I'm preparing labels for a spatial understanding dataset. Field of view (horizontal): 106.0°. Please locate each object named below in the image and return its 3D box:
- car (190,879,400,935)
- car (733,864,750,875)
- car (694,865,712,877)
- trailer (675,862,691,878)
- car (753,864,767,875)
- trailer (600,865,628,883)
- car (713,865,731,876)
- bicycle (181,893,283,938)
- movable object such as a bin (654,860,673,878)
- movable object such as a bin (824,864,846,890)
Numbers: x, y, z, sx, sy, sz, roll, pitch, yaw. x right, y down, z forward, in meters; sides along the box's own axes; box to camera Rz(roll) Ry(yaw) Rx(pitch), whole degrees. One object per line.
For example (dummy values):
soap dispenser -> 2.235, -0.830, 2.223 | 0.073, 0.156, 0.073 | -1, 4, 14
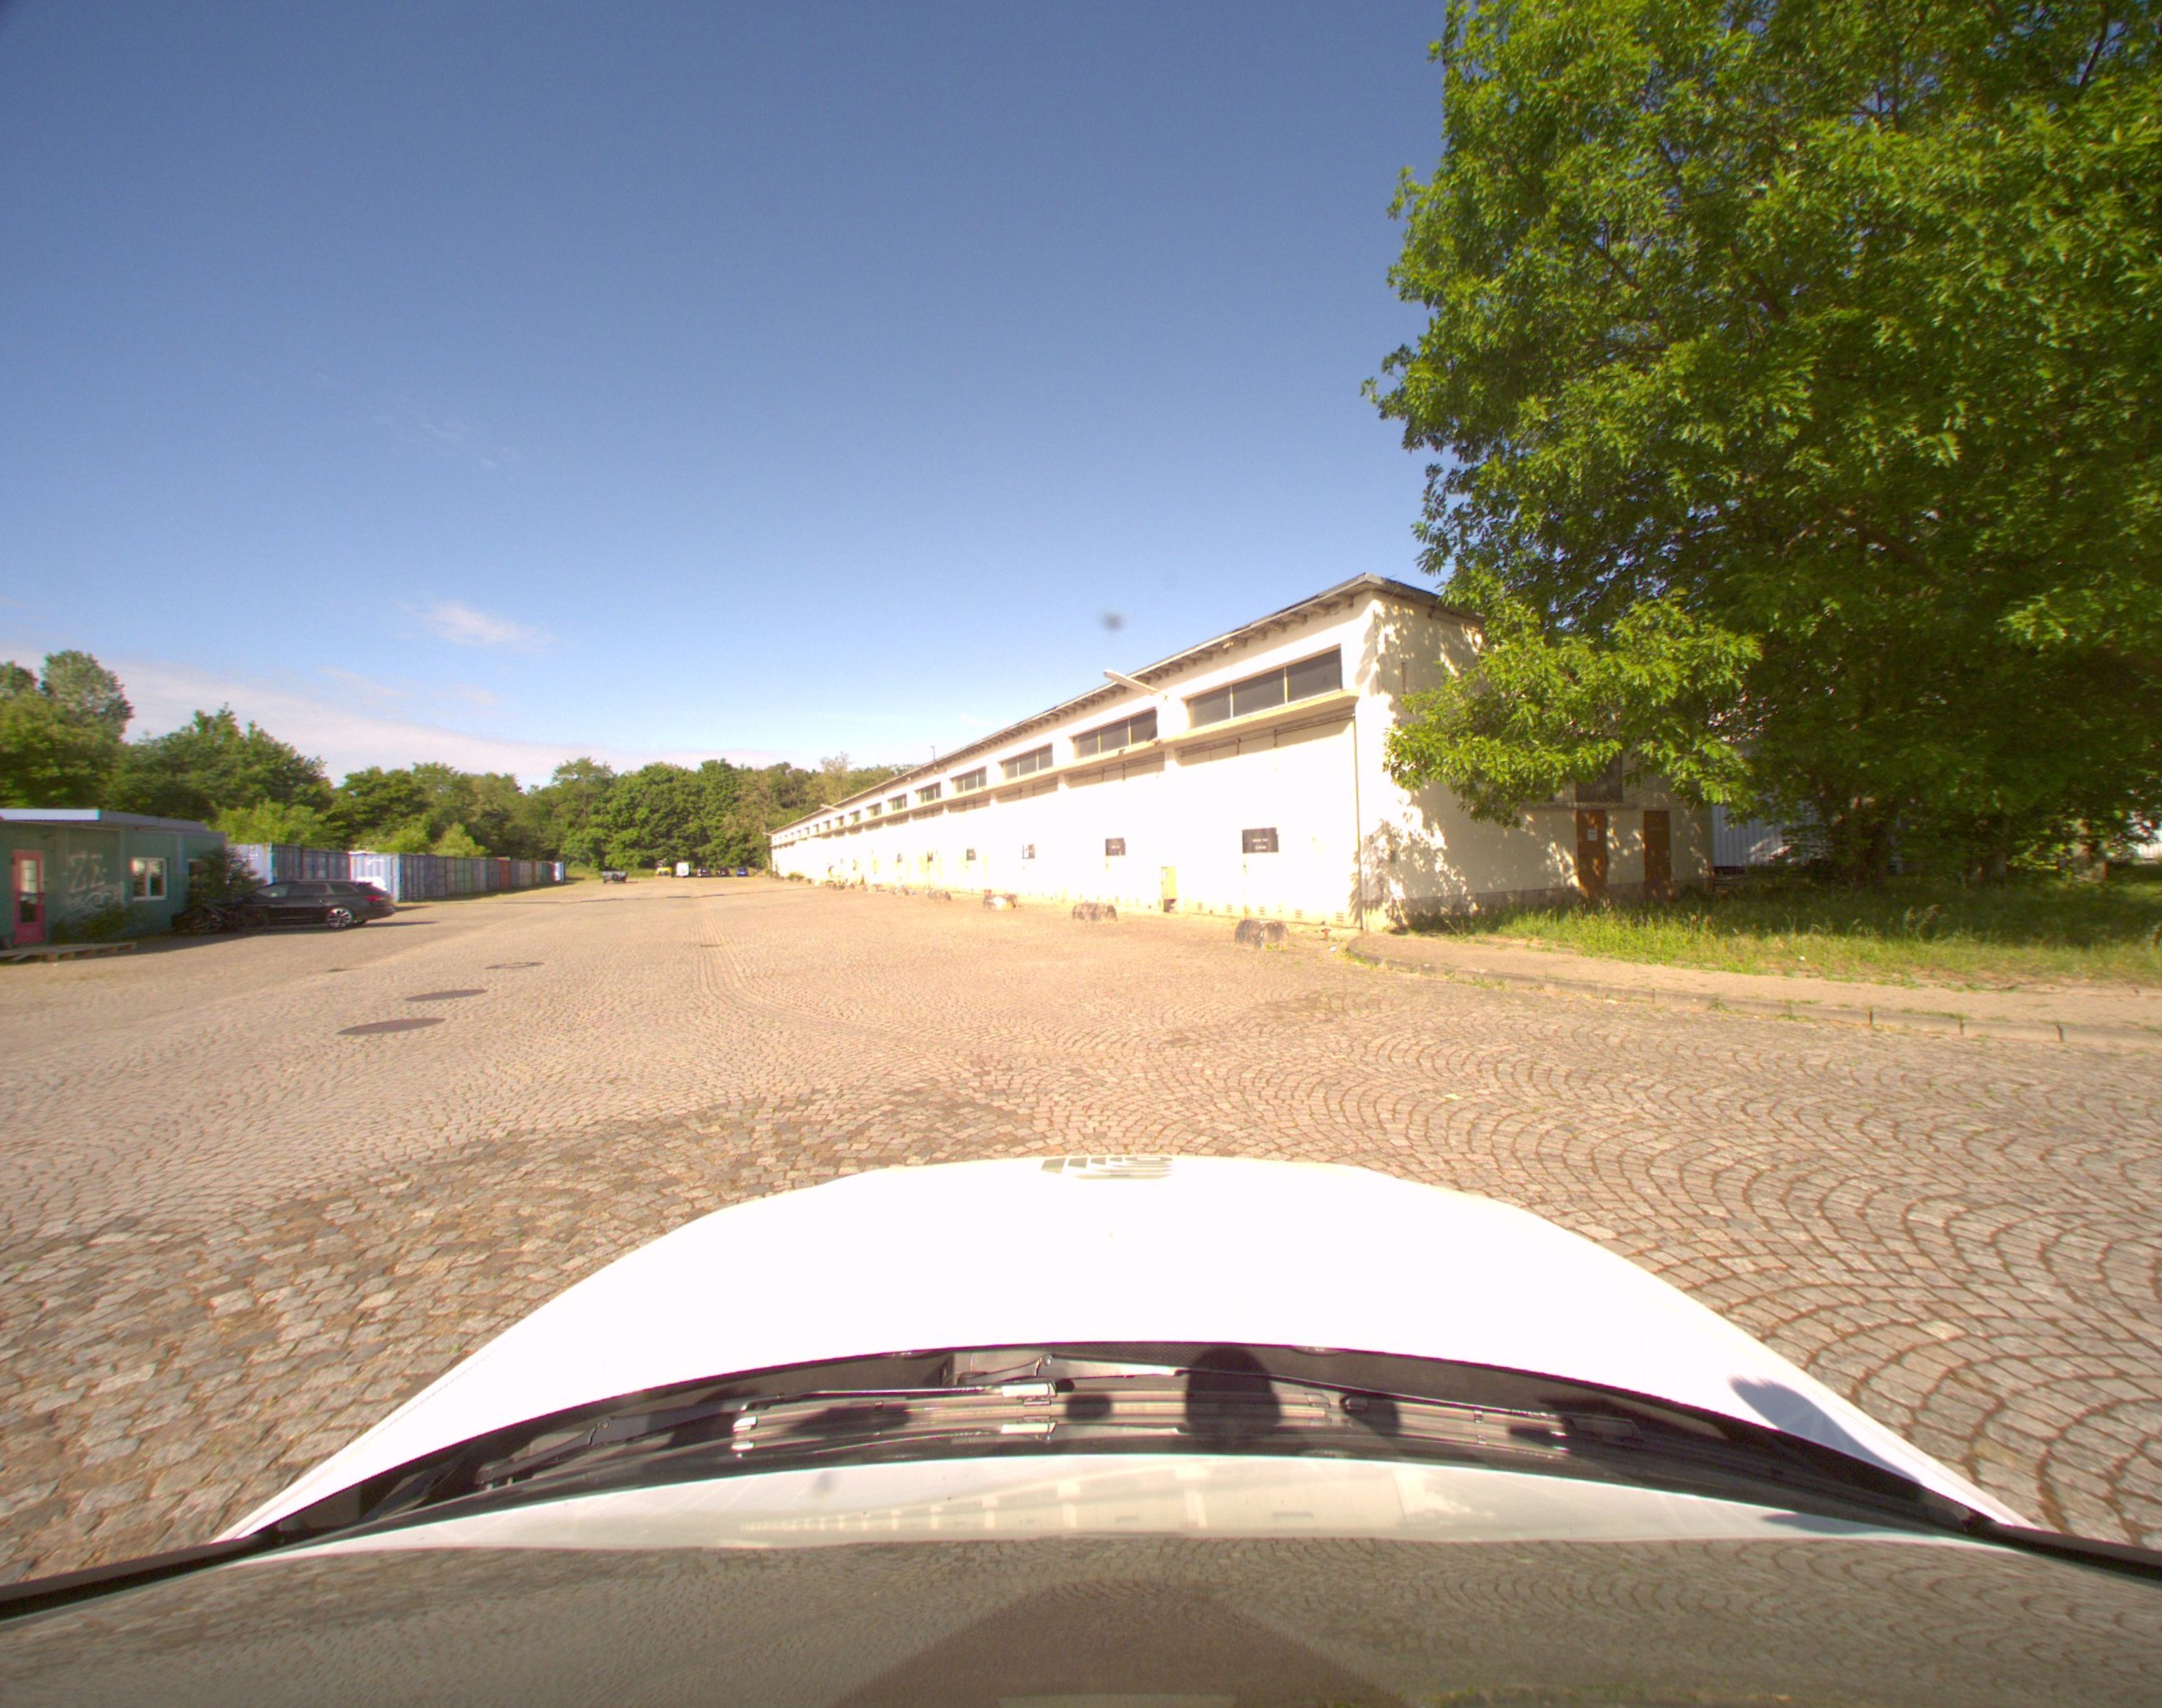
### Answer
car -> -22.519, 1.475, 23.567 | 4.077, 1.413, 1.714 | 0, -1, -32
car -> -49.440, 2.239, 118.769 | 2.000, 1.420, 3.974 | -2, 0, -19
car -> -53.910, 2.408, 116.322 | 1.867, 1.585, 3.974 | -2, 0, -19
trailer -> -56.996, 2.296, 116.665 | 1.801, 2.090, 3.942 | -2, 0, -22
car -> -47.707, 2.313, 121.120 | 1.690, 1.563, 3.974 | -2, 0, -19
trailer -> -55.216, 2.328, 96.345 | 2.418, 2.014, 4.140 | 1, -1, -24
car -> -51.805, 2.359, 117.585 | 2.000, 1.462, 3.974 | -2, 0, -19
bicycle -> -22.568, 1.619, 21.686 | 1.717, 1.101, 0.668 | 0, -1, -27
movable object such as a bin -> -59.363, 2.136, 115.791 | 2.001, 2.618, 3.970 | 1, -1, -22
movable object such as a bin -> -13.335, 1.236, 44.164 | 0.829, 1.331, 1.267 | -2, 0, -31
